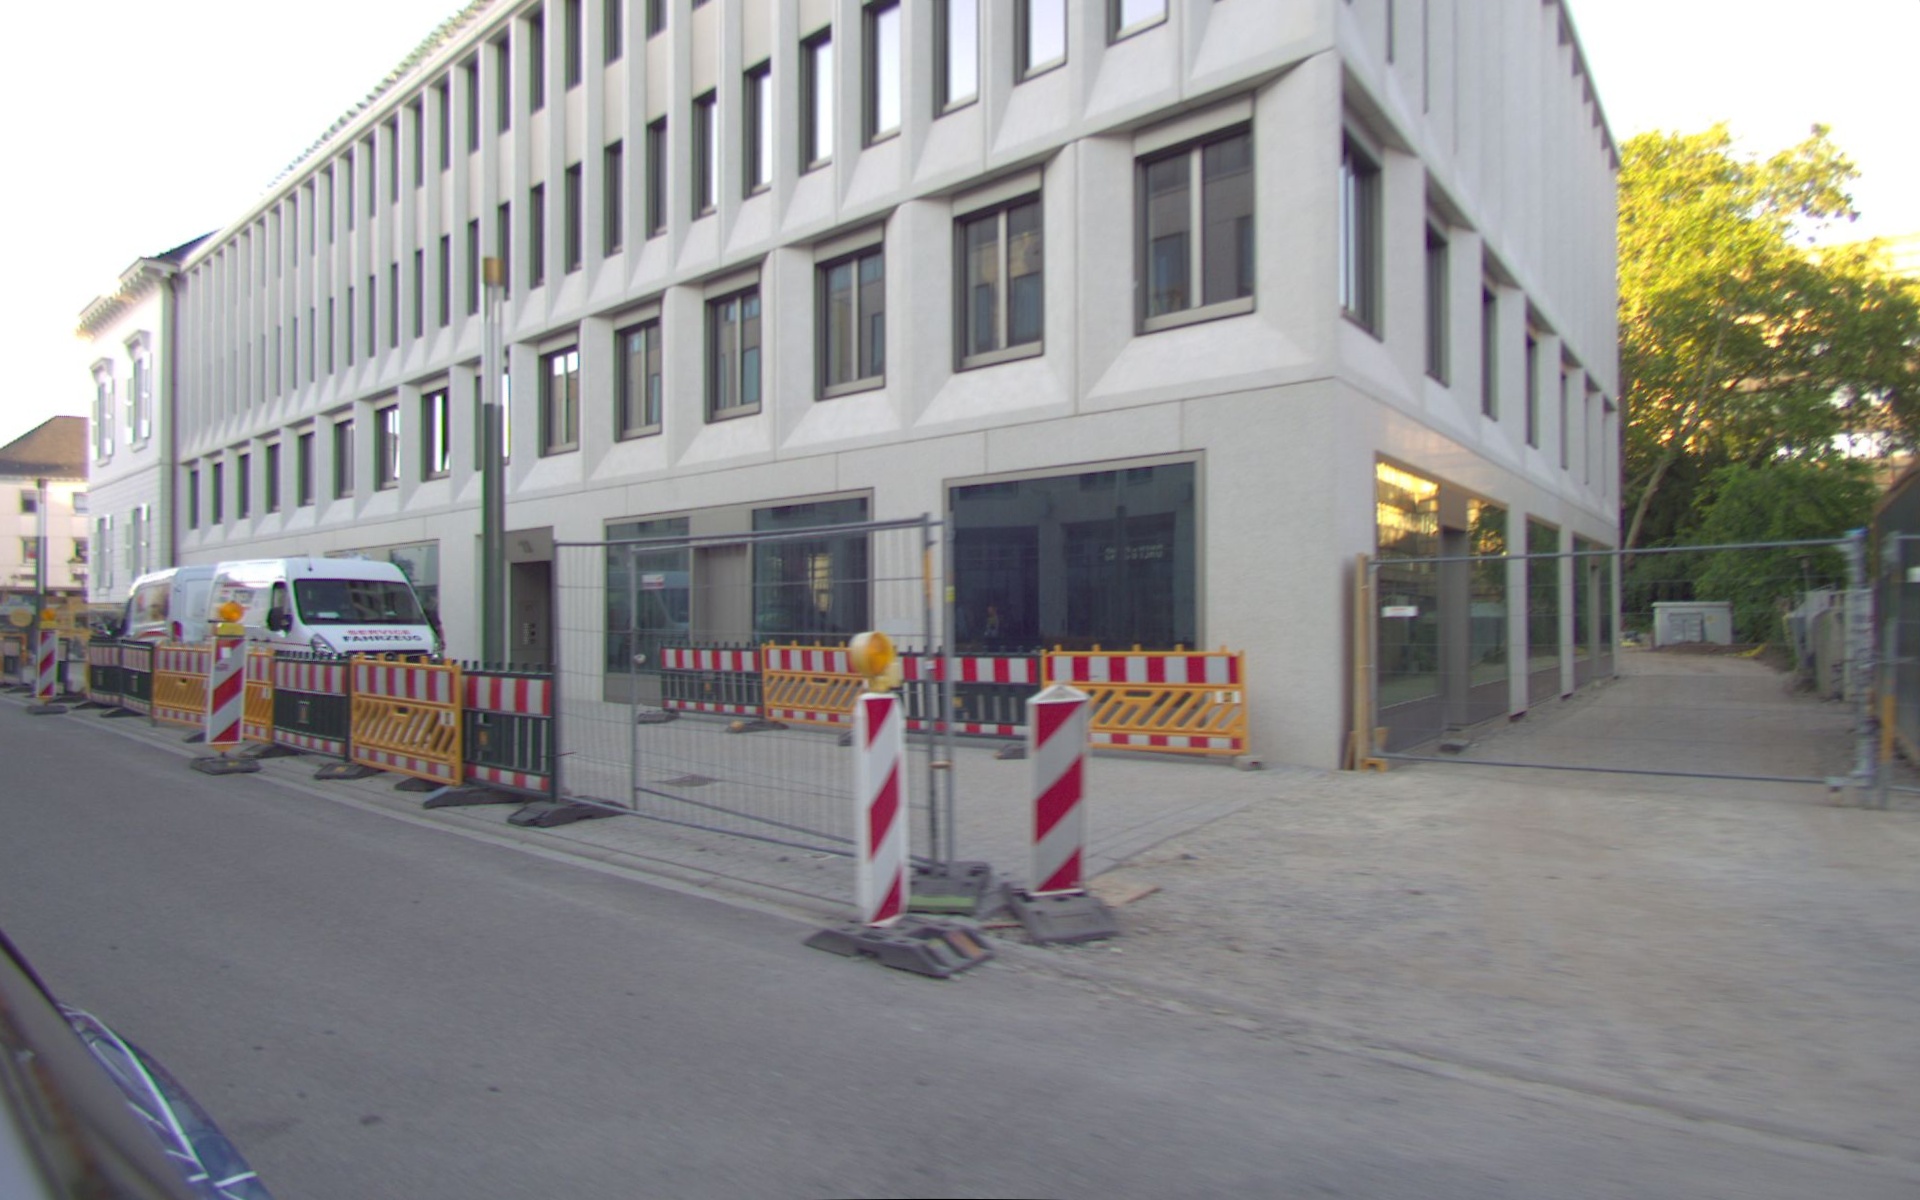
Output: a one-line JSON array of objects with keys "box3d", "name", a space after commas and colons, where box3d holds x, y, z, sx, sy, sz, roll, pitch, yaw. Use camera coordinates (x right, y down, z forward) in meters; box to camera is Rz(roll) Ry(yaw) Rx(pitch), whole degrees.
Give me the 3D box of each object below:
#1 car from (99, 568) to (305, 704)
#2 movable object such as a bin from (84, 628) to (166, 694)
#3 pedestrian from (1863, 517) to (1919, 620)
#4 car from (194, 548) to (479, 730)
[{"box3d": [-16.095, 0.715, 21.340, 5.993, 2.489, 2.152, -1, -1, 40], "name": "car"}, {"box3d": [-19.499, 1.398, 23.643, 1.387, 1.477, 1.037, -1, -1, 27], "name": "movable object such as a bin"}, {"box3d": [19.107, -0.619, 20.631, 0.878, 2.029, 0.945, 1, -2, -44], "name": "pedestrian"}, {"box3d": [-10.362, 0.588, 16.589, 5.993, 2.489, 2.152, -1, -1, 39], "name": "car"}]
